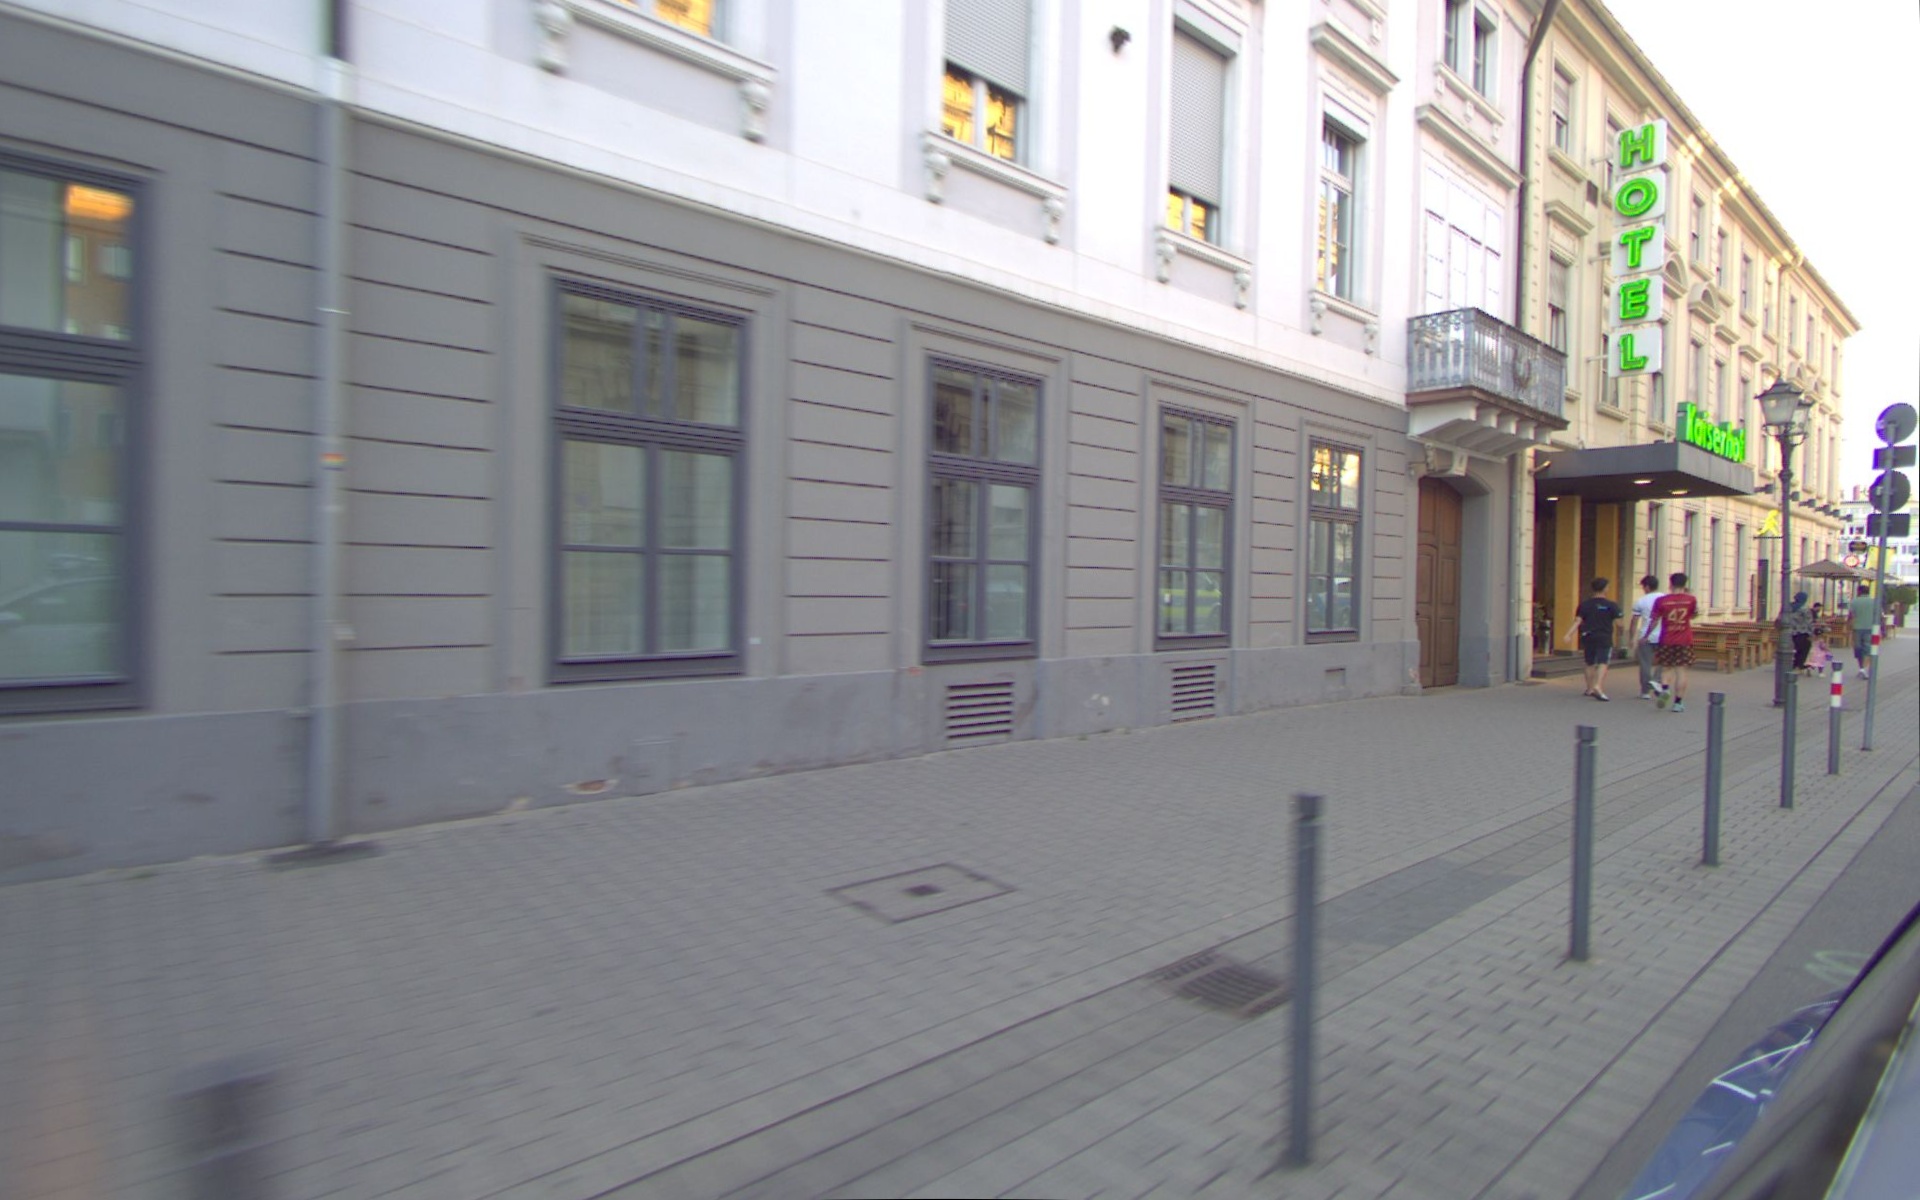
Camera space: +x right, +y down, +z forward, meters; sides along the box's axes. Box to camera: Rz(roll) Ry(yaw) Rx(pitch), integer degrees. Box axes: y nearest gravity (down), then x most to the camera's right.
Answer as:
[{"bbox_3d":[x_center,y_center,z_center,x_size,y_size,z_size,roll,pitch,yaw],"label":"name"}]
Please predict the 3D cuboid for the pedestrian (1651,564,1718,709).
[{"bbox_3d":[9.464,0.444,13.251,0.617,1.812,0.903,1,1,32],"label":"pedestrian"}]

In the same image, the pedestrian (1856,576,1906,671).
[{"bbox_3d":[17.412,0.433,19.133,0.548,1.751,0.608,0,1,-40],"label":"pedestrian"}]

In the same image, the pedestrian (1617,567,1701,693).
[{"bbox_3d":[10.057,0.406,14.559,0.865,1.751,0.750,0,1,-38],"label":"pedestrian"}]

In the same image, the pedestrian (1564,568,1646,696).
[{"bbox_3d":[9.137,0.425,14.340,0.857,1.751,0.715,0,1,-39],"label":"pedestrian"}]

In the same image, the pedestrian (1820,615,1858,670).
[{"bbox_3d":[16.594,0.797,19.104,0.548,0.992,0.461,0,1,-40],"label":"pedestrian"}]

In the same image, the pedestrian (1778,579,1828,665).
[{"bbox_3d":[16.403,0.412,19.698,0.604,1.621,0.631,0,1,-40],"label":"pedestrian"}]

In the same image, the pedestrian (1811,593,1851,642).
[{"bbox_3d":[25.475,0.493,29.615,0.771,1.376,0.716,1,1,32],"label":"pedestrian"}]
